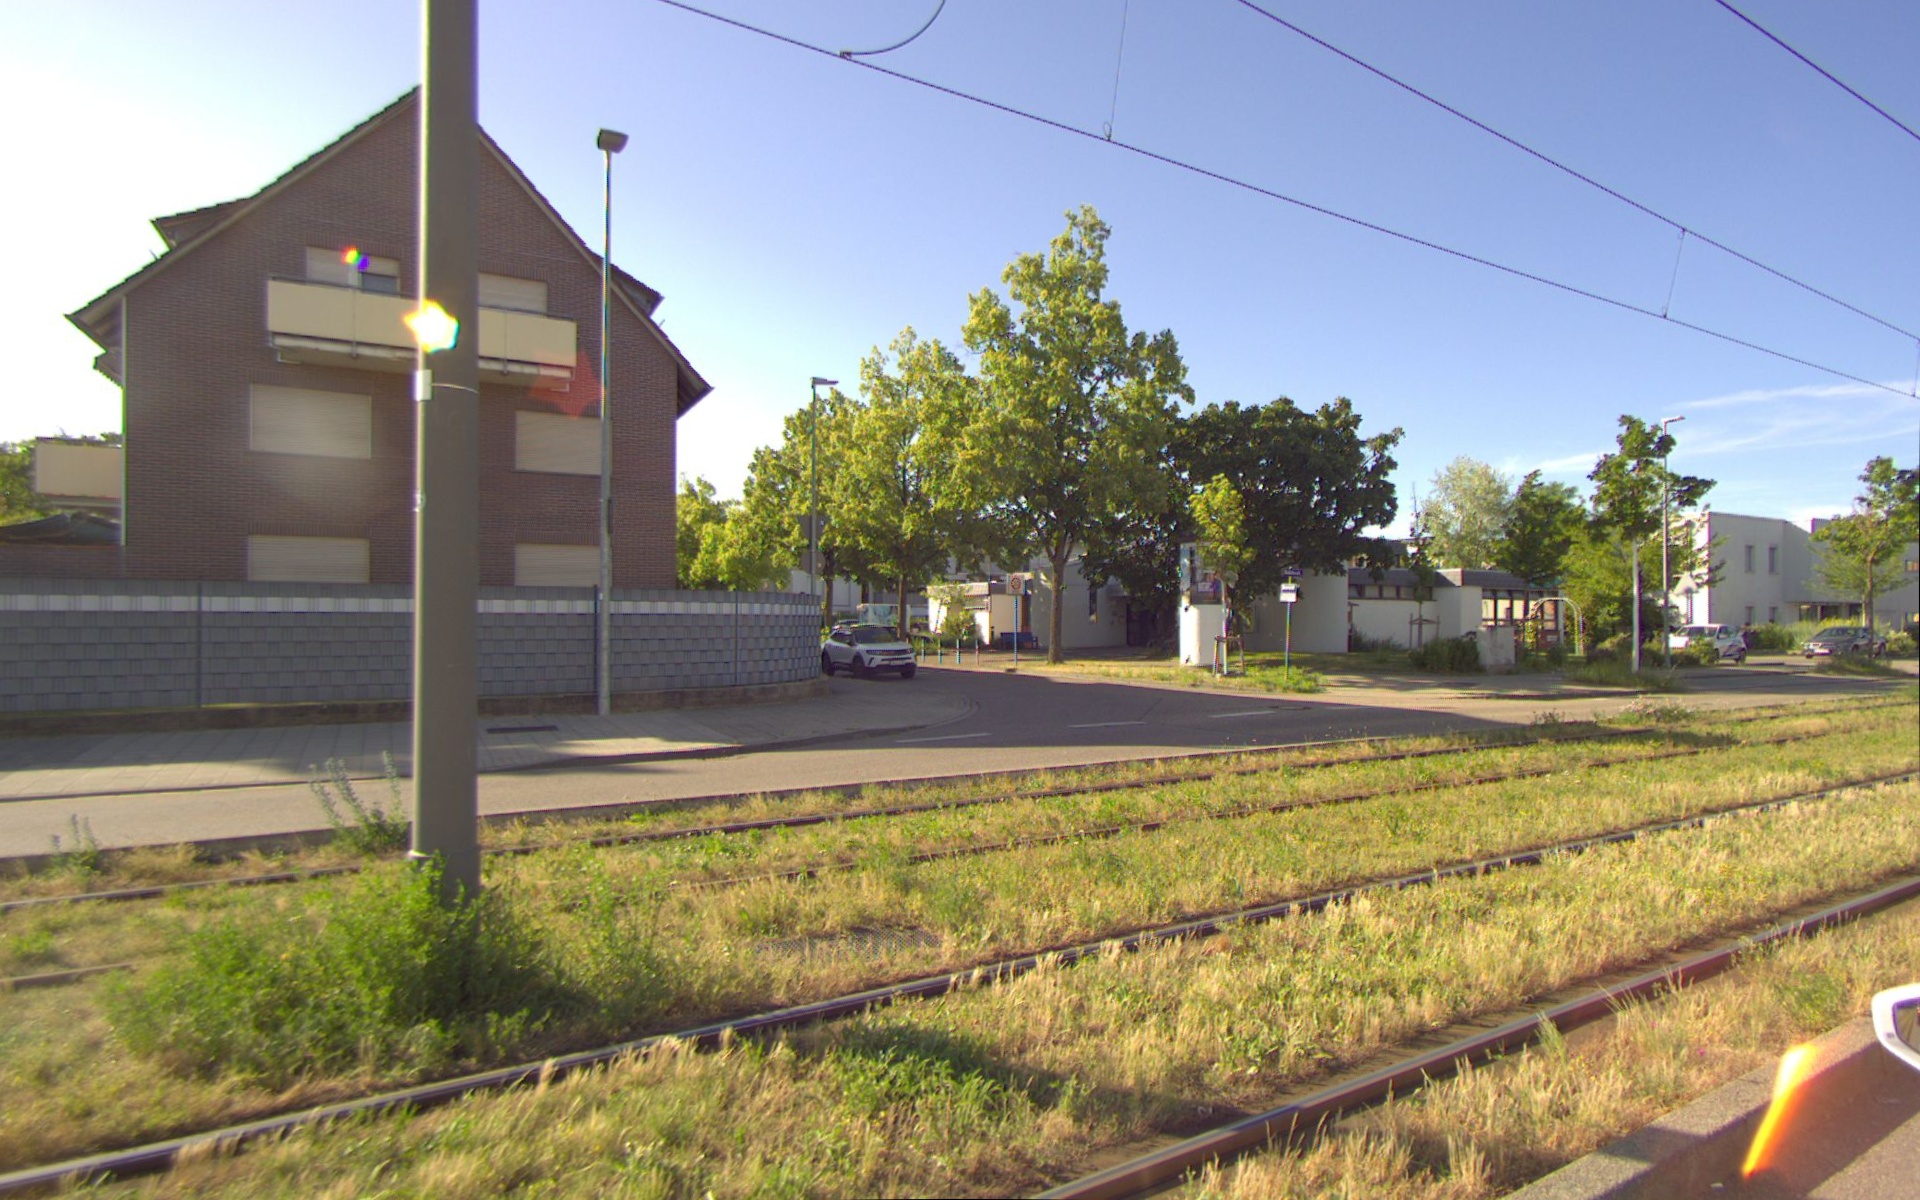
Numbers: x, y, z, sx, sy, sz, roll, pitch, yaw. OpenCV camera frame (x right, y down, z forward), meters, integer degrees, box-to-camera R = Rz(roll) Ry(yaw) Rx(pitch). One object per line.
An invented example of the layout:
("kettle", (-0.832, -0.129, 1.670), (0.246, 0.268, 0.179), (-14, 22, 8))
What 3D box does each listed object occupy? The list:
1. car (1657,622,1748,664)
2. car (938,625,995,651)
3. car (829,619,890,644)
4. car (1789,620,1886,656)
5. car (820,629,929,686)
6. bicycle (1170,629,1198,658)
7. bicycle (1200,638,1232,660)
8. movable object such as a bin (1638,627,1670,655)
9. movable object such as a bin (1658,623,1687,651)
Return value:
("car", (28.344, 1.612, 38.319), (3.734, 1.511, 1.535), (1, 0, -33))
("car", (0.295, 1.960, 51.971), (1.324, 1.228, 4.004), (1, -1, -25))
("car", (-7.083, 2.190, 70.894), (3.948, 1.639, 1.760), (0, 1, -27))
("car", (39.427, 1.701, 45.112), (4.261, 1.480, 1.804), (1, 0, -27))
("car", (-2.663, 1.687, 30.410), (1.817, 1.449, 3.842), (-1, 1, -30))
("bicycle", (8.524, 1.644, 38.261), (1.041, 1.097, 0.303), (-1, -1, 42))
("bicycle", (9.854, 1.879, 38.739), (0.332, 0.836, 1.231), (1, -1, -40))
("movable object such as a bin", (35.696, 2.102, 51.666), (1.401, 1.401, 0.662), (1, 0, -23))
("movable object such as a bin", (37.122, 1.921, 52.343), (1.237, 1.453, 0.662), (1, 0, -23))
